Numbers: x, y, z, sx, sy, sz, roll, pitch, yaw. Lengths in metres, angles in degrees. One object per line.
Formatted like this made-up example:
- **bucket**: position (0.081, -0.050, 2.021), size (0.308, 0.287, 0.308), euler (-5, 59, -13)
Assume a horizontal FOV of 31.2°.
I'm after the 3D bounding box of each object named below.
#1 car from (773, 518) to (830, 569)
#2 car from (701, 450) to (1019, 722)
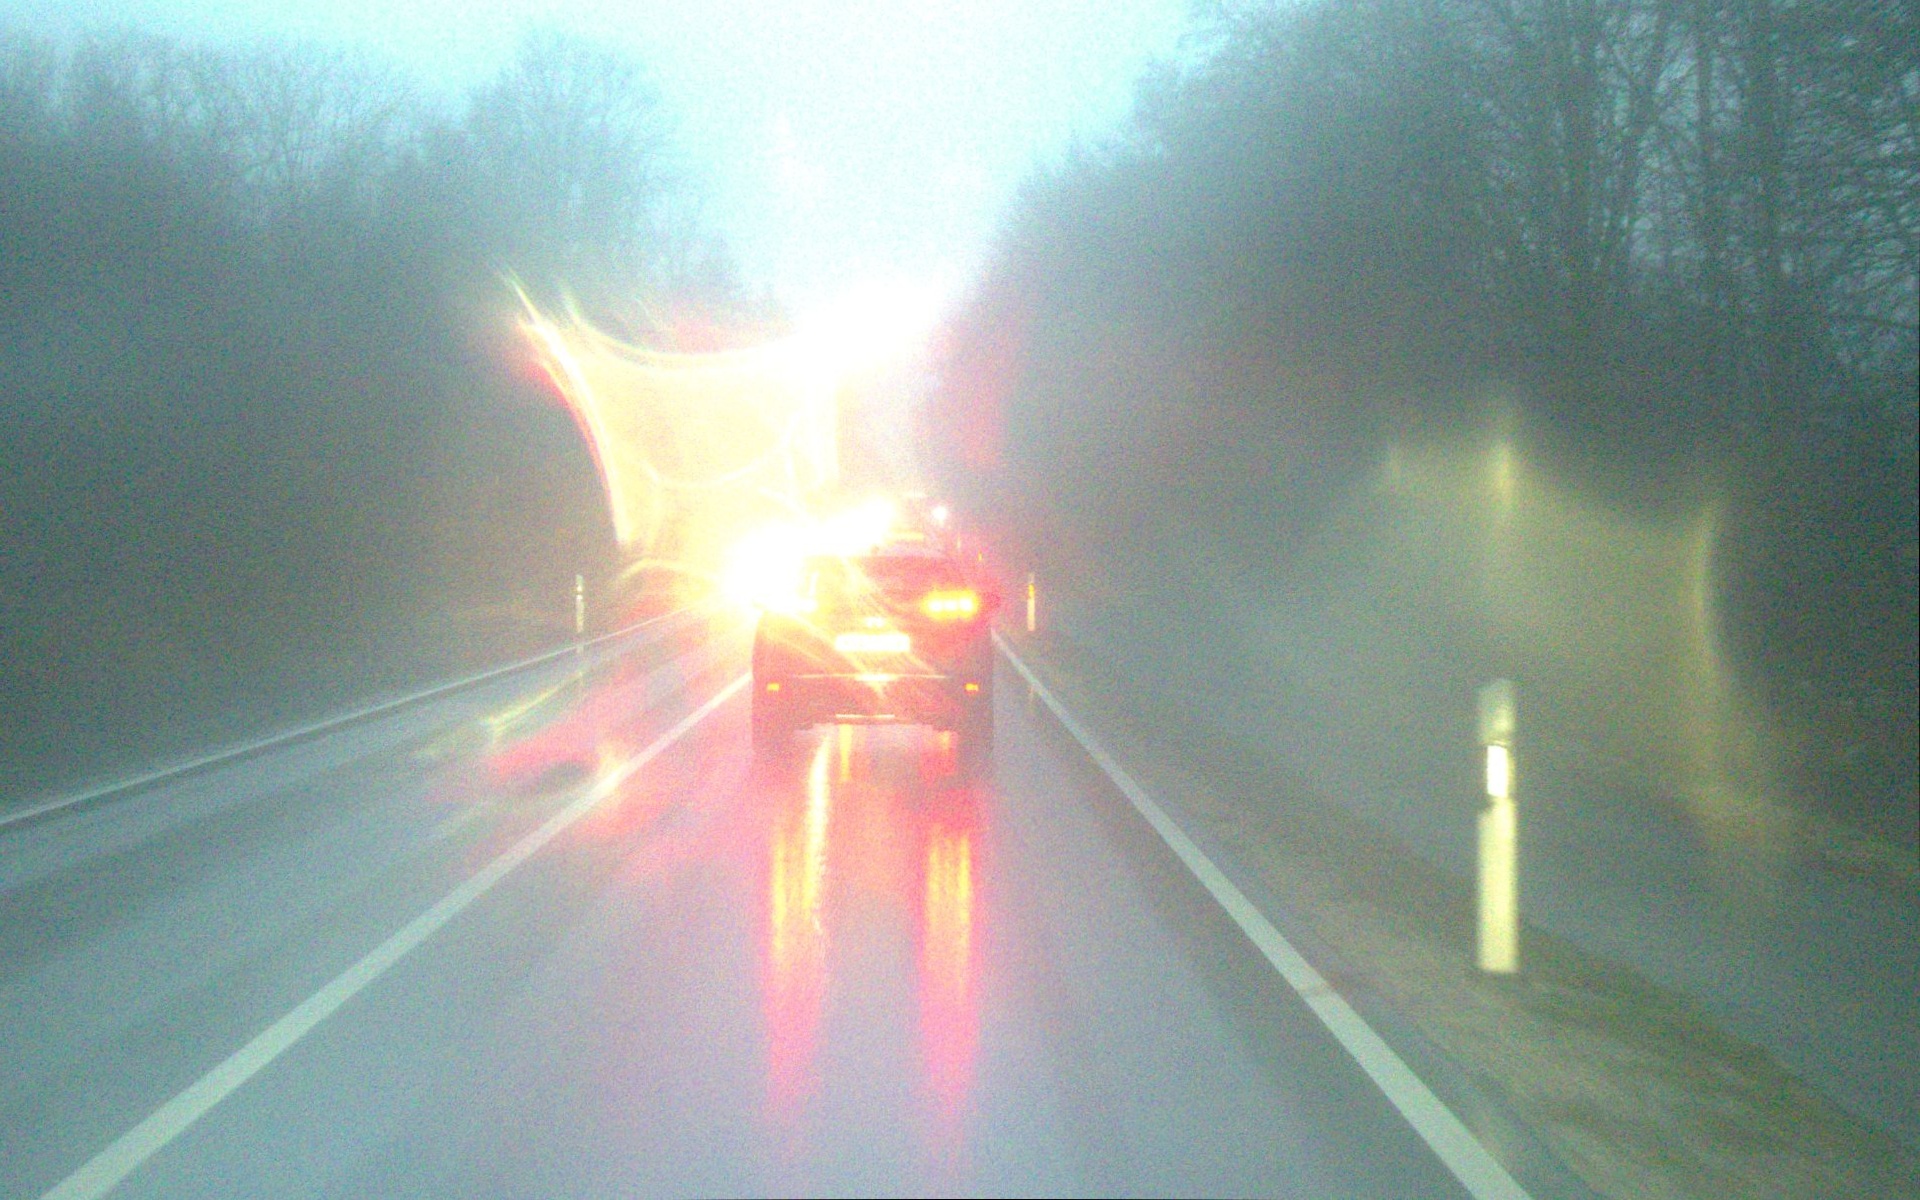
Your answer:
- **car**: position (-4.940, -1.767, 107.417), size (1.748, 1.547, 3.994), euler (0, 2, -2)
- **car**: position (-0.754, -0.165, 26.555), size (2.198, 1.871, 4.828), euler (1, 2, -1)
